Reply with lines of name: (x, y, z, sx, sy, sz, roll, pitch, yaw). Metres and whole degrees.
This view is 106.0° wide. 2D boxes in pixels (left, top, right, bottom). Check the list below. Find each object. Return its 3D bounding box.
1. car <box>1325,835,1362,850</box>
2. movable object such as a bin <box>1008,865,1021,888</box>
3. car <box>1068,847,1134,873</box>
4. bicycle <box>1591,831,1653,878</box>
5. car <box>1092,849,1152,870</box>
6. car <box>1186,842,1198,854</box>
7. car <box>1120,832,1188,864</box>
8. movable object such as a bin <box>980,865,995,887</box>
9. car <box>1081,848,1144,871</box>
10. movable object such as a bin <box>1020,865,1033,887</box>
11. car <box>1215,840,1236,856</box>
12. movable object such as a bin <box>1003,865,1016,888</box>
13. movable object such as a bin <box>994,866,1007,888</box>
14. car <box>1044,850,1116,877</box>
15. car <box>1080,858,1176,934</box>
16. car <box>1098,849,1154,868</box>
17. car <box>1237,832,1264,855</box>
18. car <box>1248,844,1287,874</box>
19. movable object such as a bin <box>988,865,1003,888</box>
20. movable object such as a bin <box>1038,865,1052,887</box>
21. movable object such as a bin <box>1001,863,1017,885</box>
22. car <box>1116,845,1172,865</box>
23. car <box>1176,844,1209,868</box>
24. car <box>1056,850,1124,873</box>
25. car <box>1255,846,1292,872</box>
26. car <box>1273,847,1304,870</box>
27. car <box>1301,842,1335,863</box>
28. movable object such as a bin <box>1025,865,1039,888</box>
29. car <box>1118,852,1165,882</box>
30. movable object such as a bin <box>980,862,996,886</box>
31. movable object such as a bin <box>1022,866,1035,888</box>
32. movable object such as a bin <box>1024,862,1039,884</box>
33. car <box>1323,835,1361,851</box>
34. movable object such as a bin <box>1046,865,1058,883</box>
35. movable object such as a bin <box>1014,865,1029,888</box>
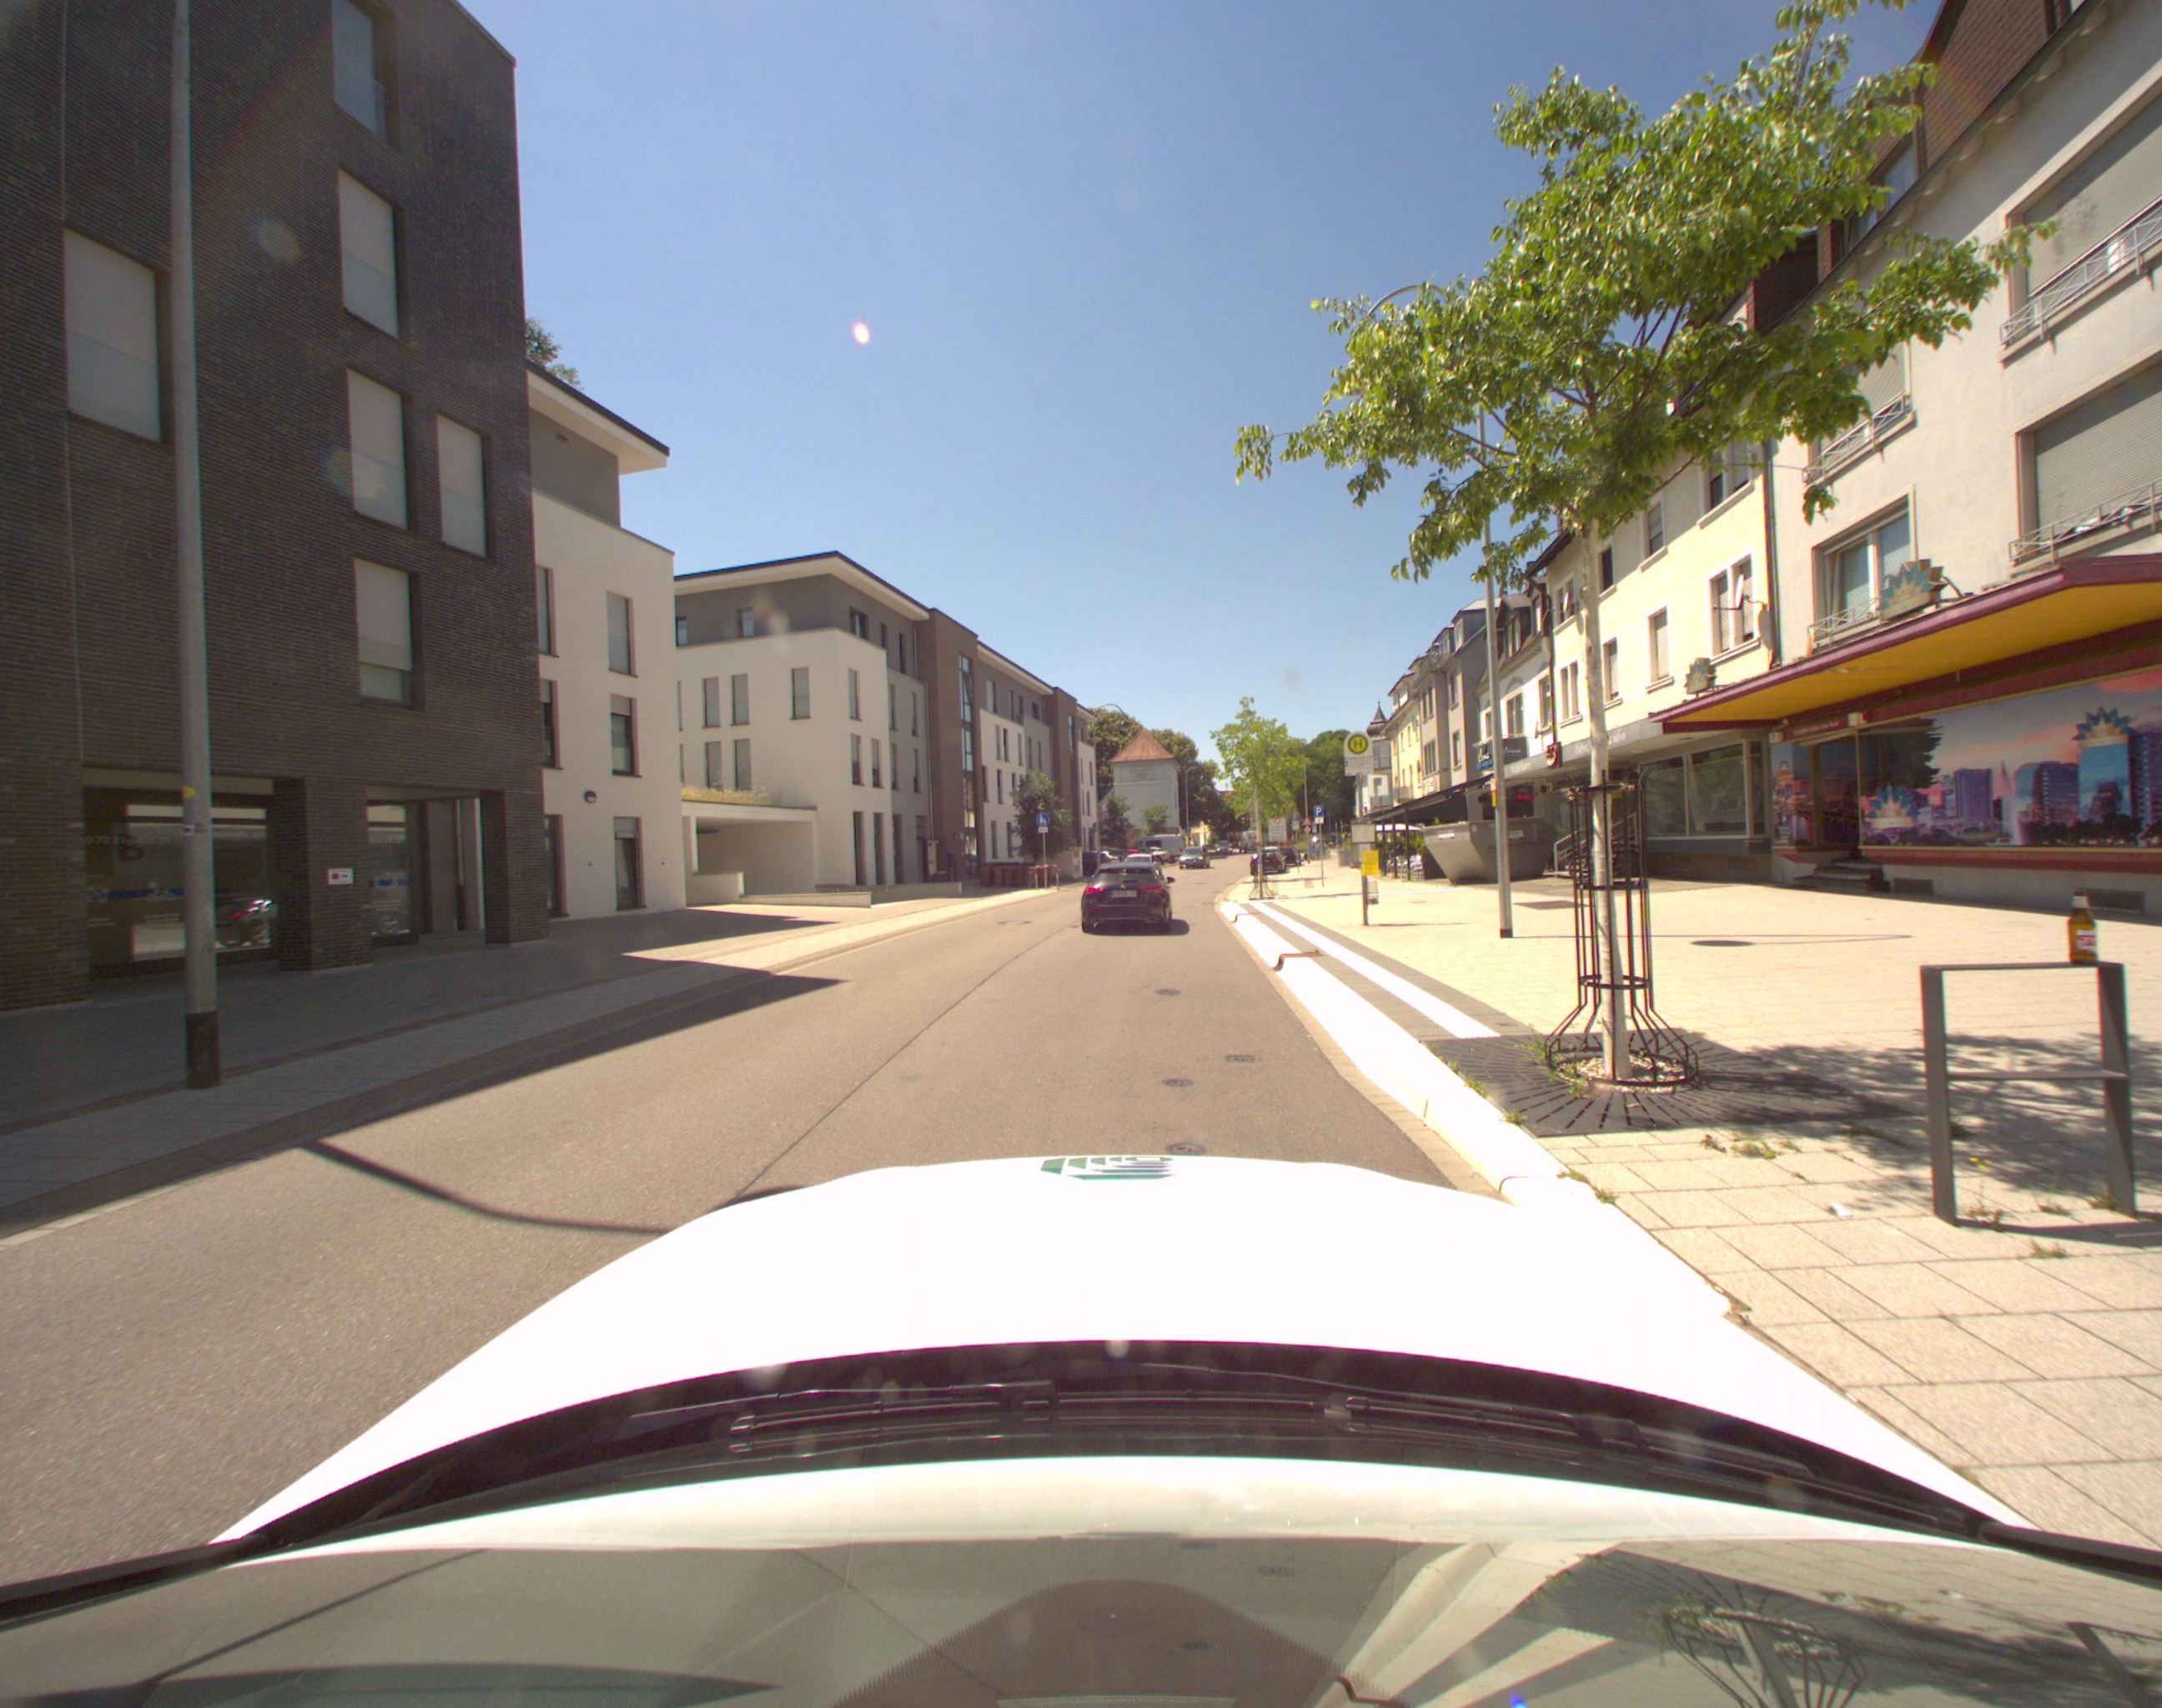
car: (30.675, -1.326, 95.280, 4.047, 1.716, 1.863, -1, 0, 13)
movable object such as a bin: (-3.029, 1.018, 37.235, 0.400, 0.998, 0.558, -2, 0, 13)
car: (1.338, 0.374, 54.255, 4.001, 1.651, 2.009, -1, 0, 17)
bicycle: (13.998, 0.018, 21.104, 1.259, 1.184, 0.417, -1, -1, 22)
car: (3.031, 0.390, 59.724, 4.001, 1.430, 2.009, -1, 0, 17)
car: (19.476, -1.068, 143.132, 1.983, 2.014, 4.007, 0, 0, 7)
car: (6.634, -0.539, 73.594, 5.724, 2.732, 2.301, -1, 0, 15)
movable object such as a bin: (-4.277, 1.002, 37.251, 0.480, 0.998, 0.589, -2, 0, 7)
car: (2.236, 0.365, 56.924, 4.001, 1.496, 2.009, -1, 0, 17)
movable object such as a bin: (-2.575, 1.025, 38.683, 0.552, 0.998, 0.404, -3, 0, 1)
car: (16.278, -0.678, 91.548, 1.796, 1.701, 4.095, -1, 0, 18)
movable object such as a bin: (-3.217, 1.009, 36.696, 0.421, 0.998, 0.525, -2, 0, 14)
movable object such as a bin: (-3.648, 1.044, 37.073, 0.400, 0.998, 0.558, -2, 0, 13)
car: (-0.030, 0.569, 49.660, 3.958, 1.515, 2.008, -1, 2, 14)
car: (1.104, 0.817, 17.675, 1.819, 1.442, 4.006, -1, 0, 6)
car: (3.542, 0.354, 63.763, 4.173, 1.437, 1.892, -1, 0, 10)
car: (20.041, -1.202, 96.501, 2.119, 2.629, 5.280, -1, 0, 2)
car: (10.685, 0.280, 46.413, 1.818, 1.482, 4.113, -4, -1, 16)
movable object such as a bin: (-3.823, 1.015, 36.510, 0.479, 0.998, 0.529, -2, 0, 16)
movable object such as a bin: (-1.627, 0.995, 37.006, 0.479, 0.998, 0.590, -2, 0, 13)
movable object such as a bin: (-3.500, 0.959, 39.627, 0.674, 1.039, 0.604, -2, 0, -3)
car: (5.353, 0.101, 68.952, 4.421, 1.591, 2.008, -1, 0, 14)
car: (8.300, 0.153, 60.234, 1.928, 1.658, 4.252, -1, 0, 14)
car: (0.595, 0.483, 51.835, 3.957, 1.421, 1.918, -1, 0, 15)
car: (12.393, 0.308, 52.337, 1.723, 1.486, 4.075, -5, -1, 20)
car: (14.940, 0.297, 58.441, 1.710, 1.405, 4.631, -3, 0, 19)
car: (20.063, -0.179, 68.775, 1.854, 1.491, 3.886, -4, 1, 28)
movable object such as a bin: (-2.180, 0.999, 36.395, 0.480, 0.998, 0.589, -2, 0, 7)
car: (3.041, 0.616, 40.182, 1.655, 1.396, 3.862, -2, 0, 14)
movable object such as a bin: (-4.441, 0.929, 38.797, 0.690, 1.095, 0.647, -2, 0, -3)
movable object such as a bin: (-2.380, 1.050, 37.055, 0.400, 0.998, 0.558, -2, 0, 13)
movable object such as a bin: (-2.403, 0.935, 39.463, 0.550, 1.020, 0.562, -2, 0, 10)
car: (29.905, -1.248, 93.465, 4.047, 1.716, 1.863, -1, 0, 13)
movable object such as a bin: (-1.430, 0.997, 40.502, 0.552, 0.867, 0.481, -2, 0, -3)
movable object such as a bin: (-2.673, 1.003, 36.649, 0.479, 0.998, 0.590, -2, 0, 14)
